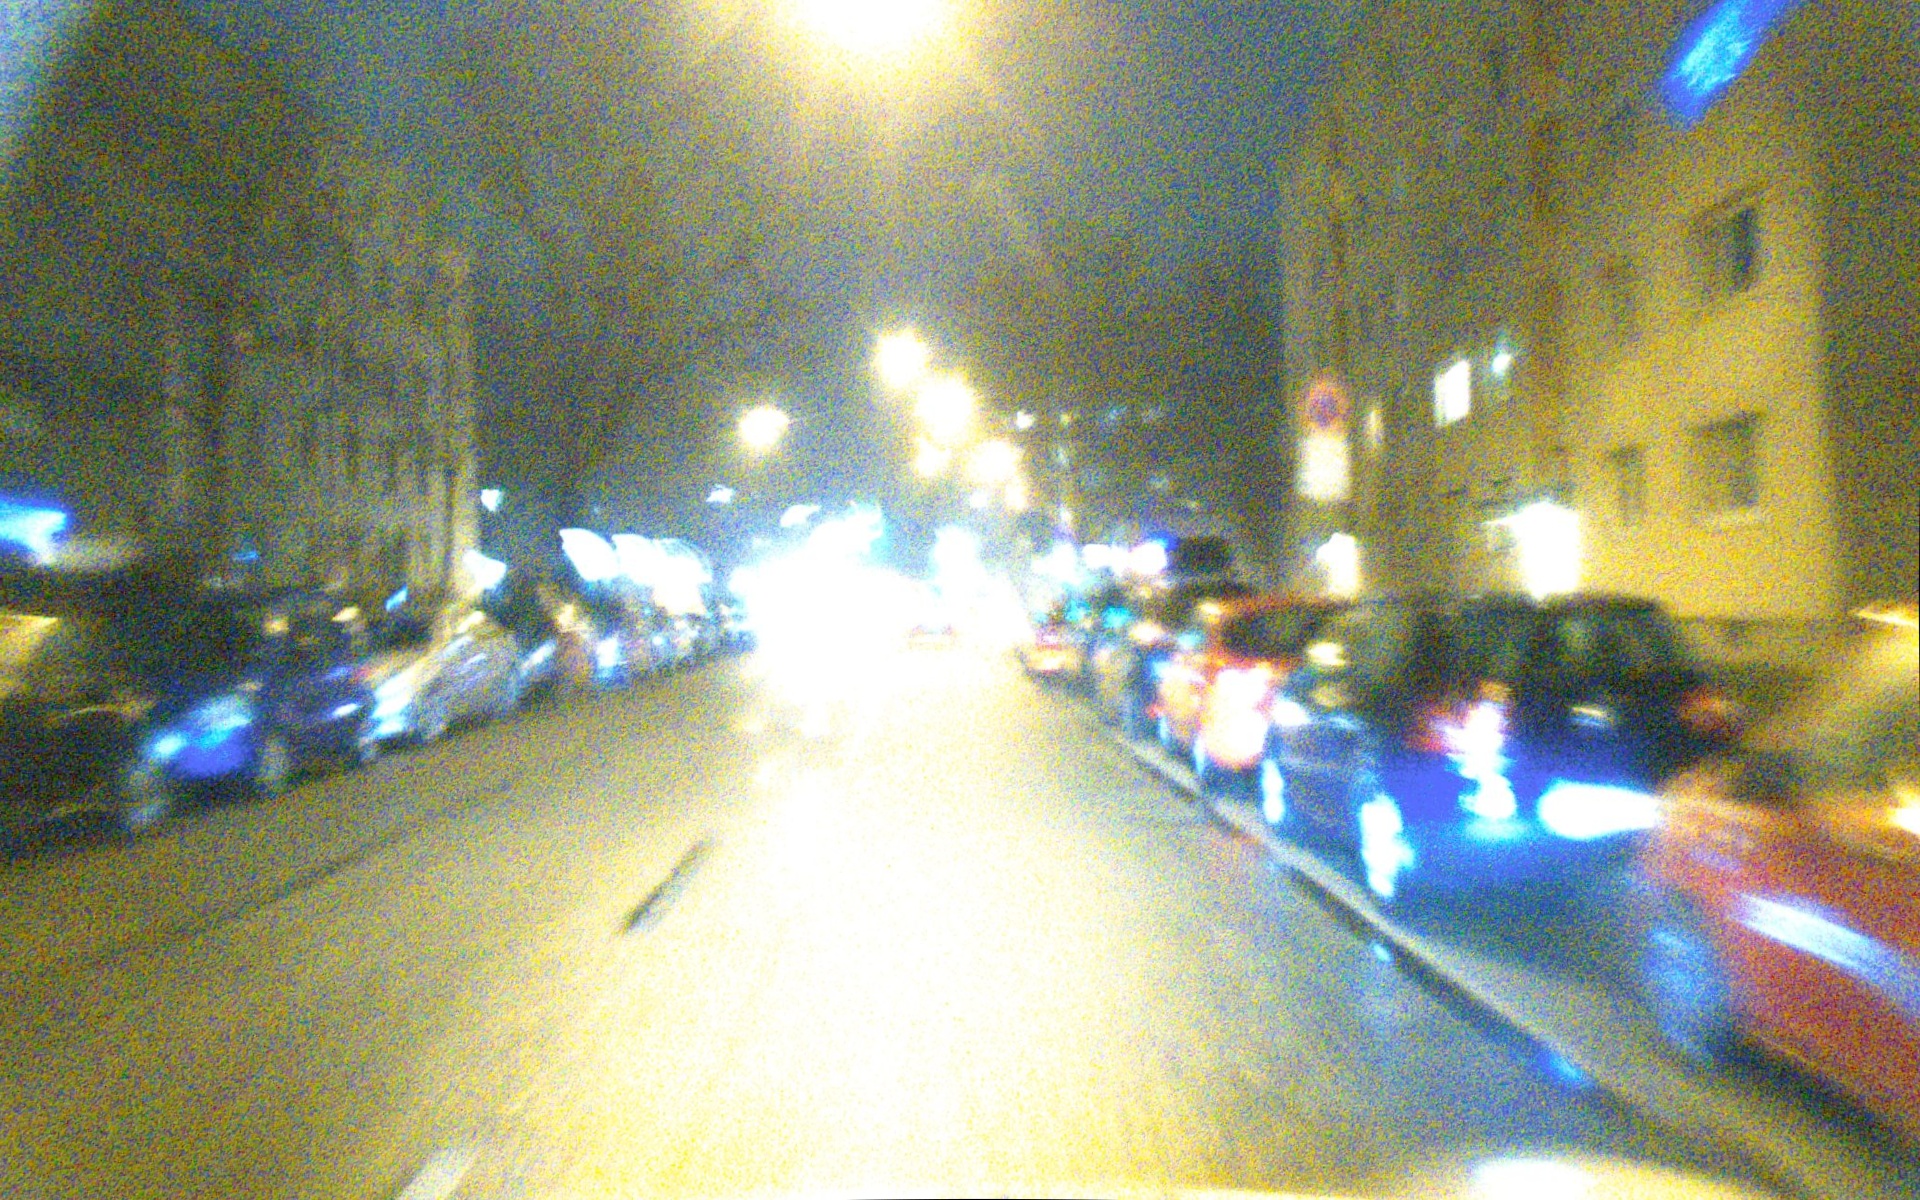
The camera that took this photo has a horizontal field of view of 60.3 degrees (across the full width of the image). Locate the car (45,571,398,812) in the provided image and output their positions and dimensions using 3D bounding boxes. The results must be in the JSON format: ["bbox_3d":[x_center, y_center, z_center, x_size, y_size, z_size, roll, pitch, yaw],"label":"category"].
[{"bbox_3d":[-5.907,0.655,13.649,1.445,1.648,3.372,-4,0,-3],"label":"car"}]

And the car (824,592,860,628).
[{"bbox_3d":[-7.166,0.574,100.301,1.995,1.987,5.195,-3,1,-5],"label":"car"}]

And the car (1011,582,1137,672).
[{"bbox_3d":[1.997,0.445,30.098,1.786,1.446,4.486,-2,0,-2],"label":"car"}]

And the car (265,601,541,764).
[{"bbox_3d":[-6.101,0.810,18.734,1.605,1.482,4.930,-4,0,-3],"label":"car"}]

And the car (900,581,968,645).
[{"bbox_3d":[-0.871,0.407,54.080,2.124,2.006,4.300,-1,0,-2],"label":"car"}]

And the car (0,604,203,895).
[{"bbox_3d":[-5.688,0.824,9.106,1.402,1.485,3.374,-4,0,0],"label":"car"}]

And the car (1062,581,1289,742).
[{"bbox_3d":[2.332,0.613,19.232,1.763,1.557,5.050,-2,0,-2],"label":"car"}]

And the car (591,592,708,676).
[{"bbox_3d":[-6.311,0.648,34.013,1.566,1.512,4.273,-4,0,-1],"label":"car"}]

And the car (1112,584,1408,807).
[{"bbox_3d":[2.404,0.691,14.327,1.787,1.575,4.353,-2,0,1],"label":"car"}]

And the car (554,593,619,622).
[{"bbox_3d":[-20.092,0.395,89.090,1.677,1.456,3.921,-1,0,17],"label":"car"}]

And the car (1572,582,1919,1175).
[{"bbox_3d":[2.893,0.629,3.813,1.427,1.329,3.626,-2,0,-3],"label":"car"}]

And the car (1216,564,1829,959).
[{"bbox_3d":[2.718,0.655,9.343,1.718,1.575,4.977,-2,0,0],"label":"car"}]

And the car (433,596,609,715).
[{"bbox_3d":[-6.210,0.729,23.801,1.566,1.456,4.002,-4,0,-3],"label":"car"}]

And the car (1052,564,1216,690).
[{"bbox_3d":[2.509,0.358,24.875,1.786,1.666,4.486,-2,0,-2],"label":"car"}]

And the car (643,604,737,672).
[{"bbox_3d":[-6.418,0.870,39.711,1.566,1.397,4.066,-4,0,-1],"label":"car"}]

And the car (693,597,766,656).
[{"bbox_3d":[-6.883,0.761,49.789,1.566,1.591,4.379,-4,0,-1],"label":"car"}]

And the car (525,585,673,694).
[{"bbox_3d":[-6.093,0.615,28.337,1.566,1.633,4.257,-4,0,-1],"label":"car"}]
